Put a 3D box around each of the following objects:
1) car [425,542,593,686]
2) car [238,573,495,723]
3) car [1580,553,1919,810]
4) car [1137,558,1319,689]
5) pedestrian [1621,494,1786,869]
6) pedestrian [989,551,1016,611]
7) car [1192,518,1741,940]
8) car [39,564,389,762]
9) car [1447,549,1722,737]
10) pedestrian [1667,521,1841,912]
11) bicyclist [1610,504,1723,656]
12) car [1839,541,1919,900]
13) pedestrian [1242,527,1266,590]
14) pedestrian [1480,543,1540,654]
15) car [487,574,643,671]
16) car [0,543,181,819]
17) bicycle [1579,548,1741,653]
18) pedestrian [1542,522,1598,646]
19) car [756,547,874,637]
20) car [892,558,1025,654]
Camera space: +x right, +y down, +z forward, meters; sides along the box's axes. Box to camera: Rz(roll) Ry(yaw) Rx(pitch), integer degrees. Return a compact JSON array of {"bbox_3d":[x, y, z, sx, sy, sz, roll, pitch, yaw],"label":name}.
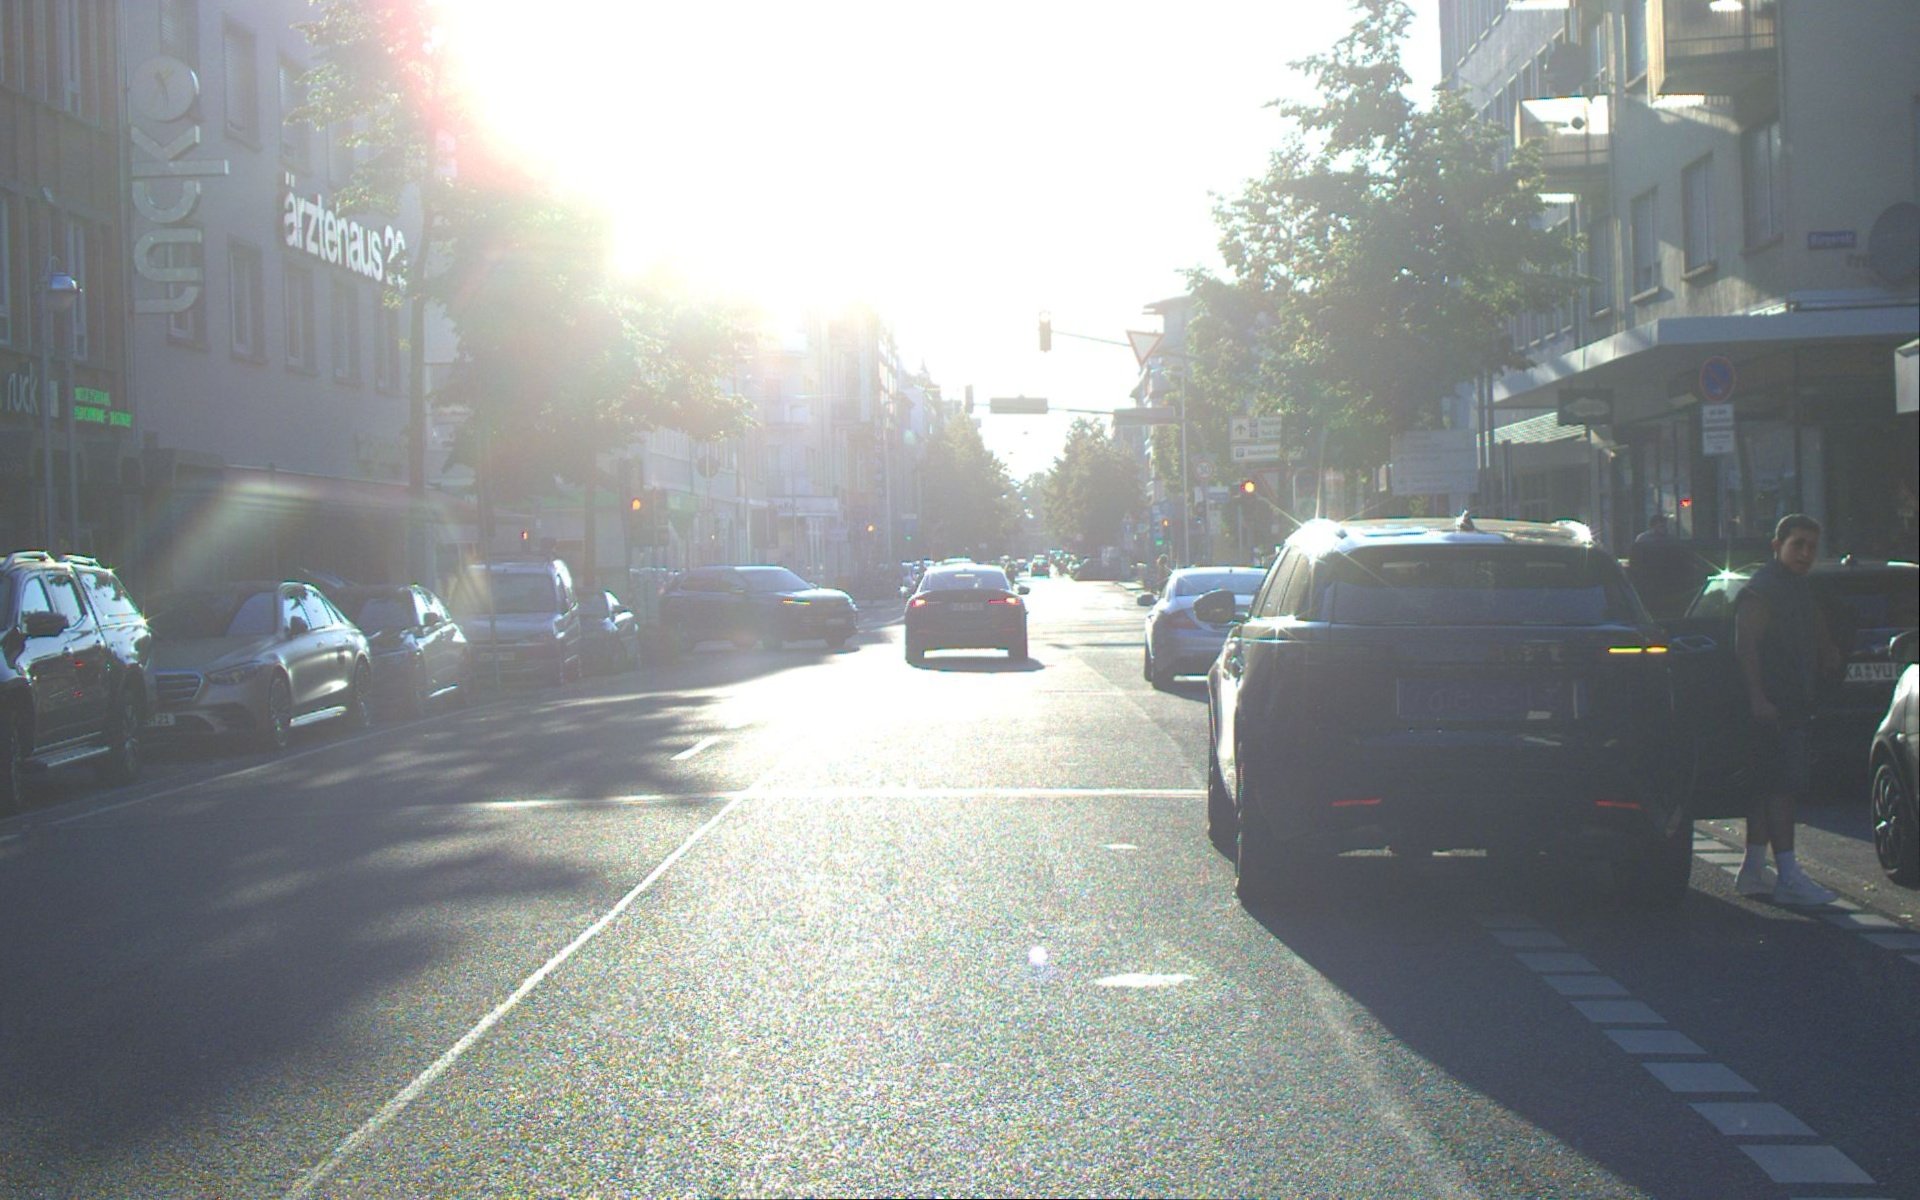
[{"bbox_3d":[-6.115,0.158,47.002,1.833,1.848,4.124,-1,1,-2],"label":"car"},{"bbox_3d":[-6.458,0.481,37.887,1.827,1.434,4.553,-3,1,2],"label":"car"},{"bbox_3d":[5.038,0.445,21.609,1.633,1.419,3.758,-2,1,1],"label":"car"},{"bbox_3d":[3.104,0.231,40.557,1.922,1.410,4.548,1,1,2],"label":"car"},{"bbox_3d":[3.384,0.360,15.661,0.441,1.659,0.565,-2,1,-23],"label":"pedestrian"},{"bbox_3d":[1.179,-0.536,95.661,0.573,1.639,0.528,-2,2,-19],"label":"pedestrian"},{"bbox_3d":[2.159,0.471,15.949,1.995,1.649,4.674,1,1,2],"label":"car"},{"bbox_3d":[-6.763,0.508,31.756,1.827,1.551,5.135,-3,1,3],"label":"car"},{"bbox_3d":[5.226,0.317,29.200,1.703,1.431,3.932,-2,1,2],"label":"car"},{"bbox_3d":[3.470,0.496,15.038,0.441,1.659,0.565,-2,1,-23],"label":"pedestrian"},{"bbox_3d":[8.028,-0.230,39.096,0.650,1.696,1.095,-2,1,-31],"label":"bicyclist"},{"bbox_3d":[4.960,0.505,14.720,1.632,1.548,2.695,-2,1,-1],"label":"car"},{"bbox_3d":[8.054,-1.144,94.312,0.494,1.709,0.462,-2,2,-18],"label":"pedestrian"},{"bbox_3d":[7.814,-0.023,48.898,0.688,1.553,0.863,-1,1,1],"label":"pedestrian"},{"bbox_3d":[-6.051,0.319,53.093,1.833,1.323,4.124,-2,1,1],"label":"car"},{"bbox_3d":[-7.228,0.531,25.014,1.827,1.804,5.349,-3,1,0],"label":"car"},{"bbox_3d":[7.956,0.007,39.162,0.650,1.151,1.932,-2,1,-31],"label":"bicycle"},{"bbox_3d":[8.632,-0.231,48.691,0.688,1.716,0.716,-2,0,8],"label":"pedestrian"},{"bbox_3d":[-2.772,-0.178,66.697,1.922,1.596,4.325,-1,2,2],"label":"car"},{"bbox_3d":[0.020,0.060,53.264,1.883,1.410,4.325,0,1,2],"label":"car"}]
